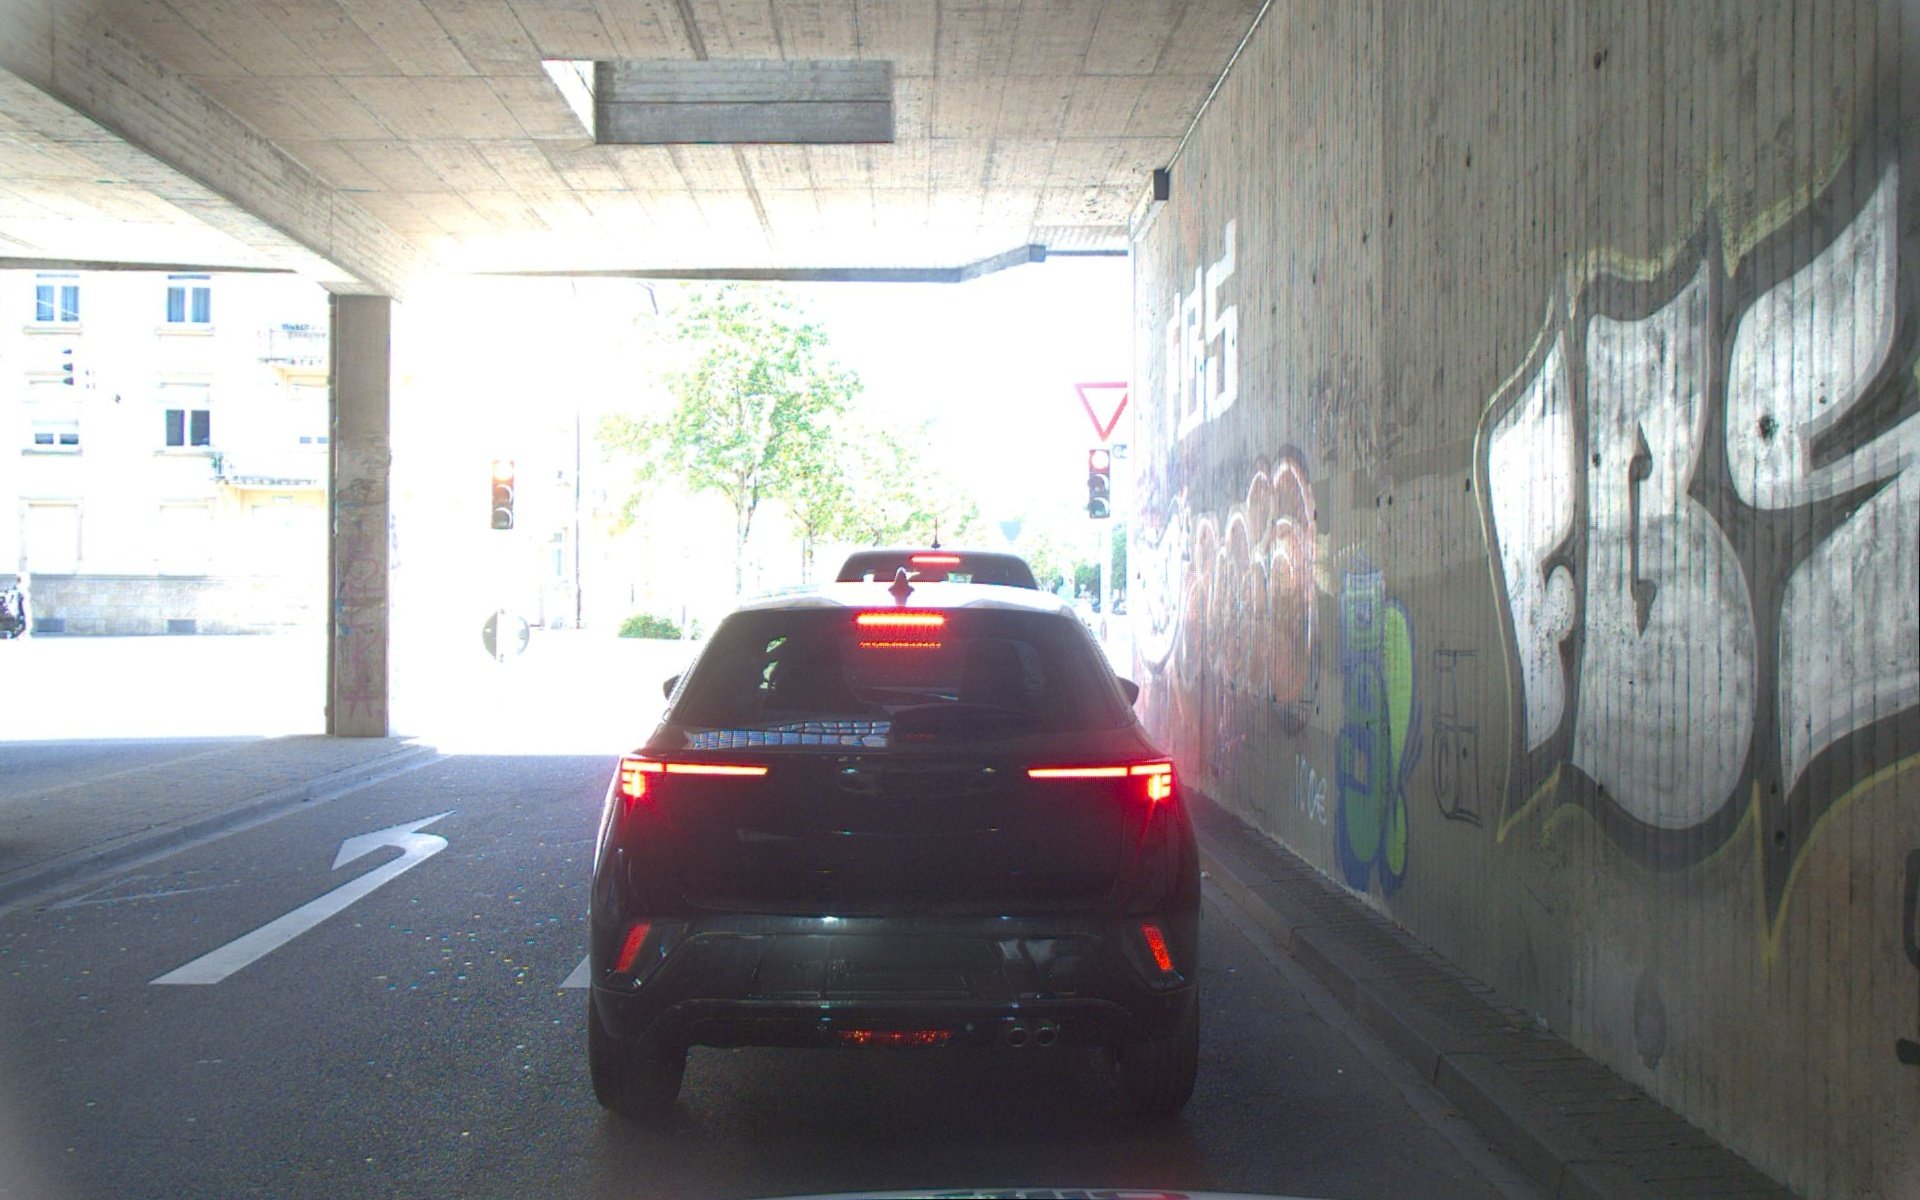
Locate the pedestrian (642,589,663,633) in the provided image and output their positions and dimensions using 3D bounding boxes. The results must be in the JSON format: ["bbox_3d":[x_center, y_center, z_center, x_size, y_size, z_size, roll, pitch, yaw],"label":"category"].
[{"bbox_3d":[-12.120,0.436,65.186,0.609,1.734,0.723,1,-1,5],"label":"pedestrian"}]

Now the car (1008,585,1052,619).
[{"bbox_3d":[3.147,0.084,73.587,1.564,1.477,3.798,0,0,9],"label":"car"}]

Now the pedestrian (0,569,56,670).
[{"bbox_3d":[-17.191,0.342,29.818,1.088,1.767,1.143,0,0,12],"label":"pedestrian"}]

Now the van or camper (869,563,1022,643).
[{"bbox_3d":[-0.343,0.082,43.649,3.795,2.049,2.002,0,0,7],"label":"van or camper"}]

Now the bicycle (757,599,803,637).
[{"bbox_3d":[-5.566,0.551,51.238,0.721,1.150,2.027,0,0,16],"label":"bicycle"}]

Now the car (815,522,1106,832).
[{"bbox_3d":[-0.018,0.461,12.051,1.749,1.865,3.960,1,0,-1],"label":"car"}]

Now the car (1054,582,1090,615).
[{"bbox_3d":[5.915,-0.087,87.302,1.550,1.668,3.809,0,0,9],"label":"car"}]

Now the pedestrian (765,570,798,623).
[{"bbox_3d":[-5.540,-0.095,51.324,0.720,1.612,0.891,1,-1,15],"label":"pedestrian"}]

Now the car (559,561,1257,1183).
[{"bbox_3d":[-0.142,0.672,6.134,1.718,1.525,4.000,1,0,-1],"label":"car"}]
